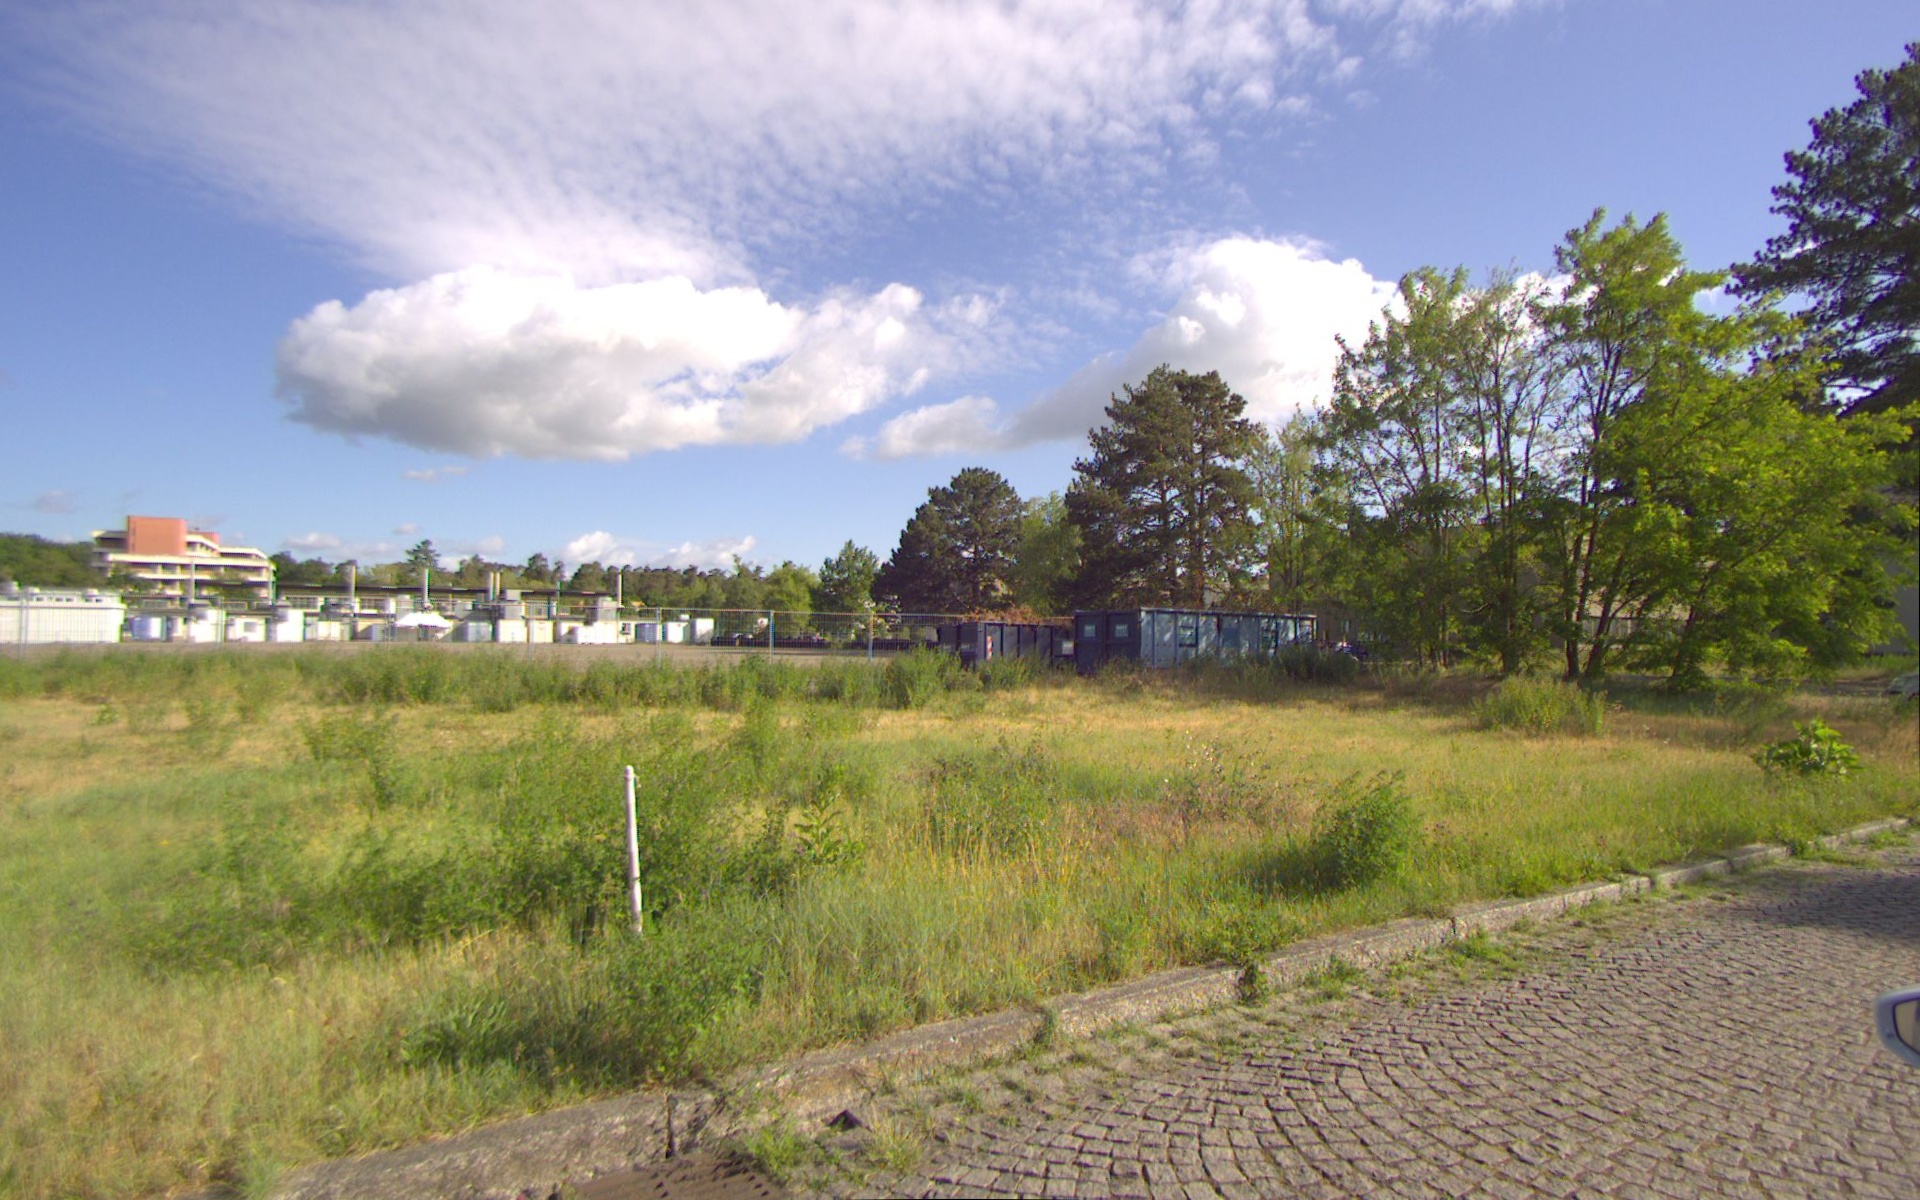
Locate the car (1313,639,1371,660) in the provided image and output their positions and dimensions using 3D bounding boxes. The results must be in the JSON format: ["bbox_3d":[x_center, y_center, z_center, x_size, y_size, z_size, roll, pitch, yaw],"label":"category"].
[{"bbox_3d":[27.730,3.596,72.900,3.953,1.452,1.893,2,-2,-30],"label":"car"}]

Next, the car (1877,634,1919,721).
[{"bbox_3d":[18.319,1.414,17.095,1.628,1.507,3.724,1,0,-33],"label":"car"}]

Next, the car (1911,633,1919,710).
[{"bbox_3d":[20.487,1.437,18.542,1.784,1.500,3.963,1,0,-33],"label":"car"}]
